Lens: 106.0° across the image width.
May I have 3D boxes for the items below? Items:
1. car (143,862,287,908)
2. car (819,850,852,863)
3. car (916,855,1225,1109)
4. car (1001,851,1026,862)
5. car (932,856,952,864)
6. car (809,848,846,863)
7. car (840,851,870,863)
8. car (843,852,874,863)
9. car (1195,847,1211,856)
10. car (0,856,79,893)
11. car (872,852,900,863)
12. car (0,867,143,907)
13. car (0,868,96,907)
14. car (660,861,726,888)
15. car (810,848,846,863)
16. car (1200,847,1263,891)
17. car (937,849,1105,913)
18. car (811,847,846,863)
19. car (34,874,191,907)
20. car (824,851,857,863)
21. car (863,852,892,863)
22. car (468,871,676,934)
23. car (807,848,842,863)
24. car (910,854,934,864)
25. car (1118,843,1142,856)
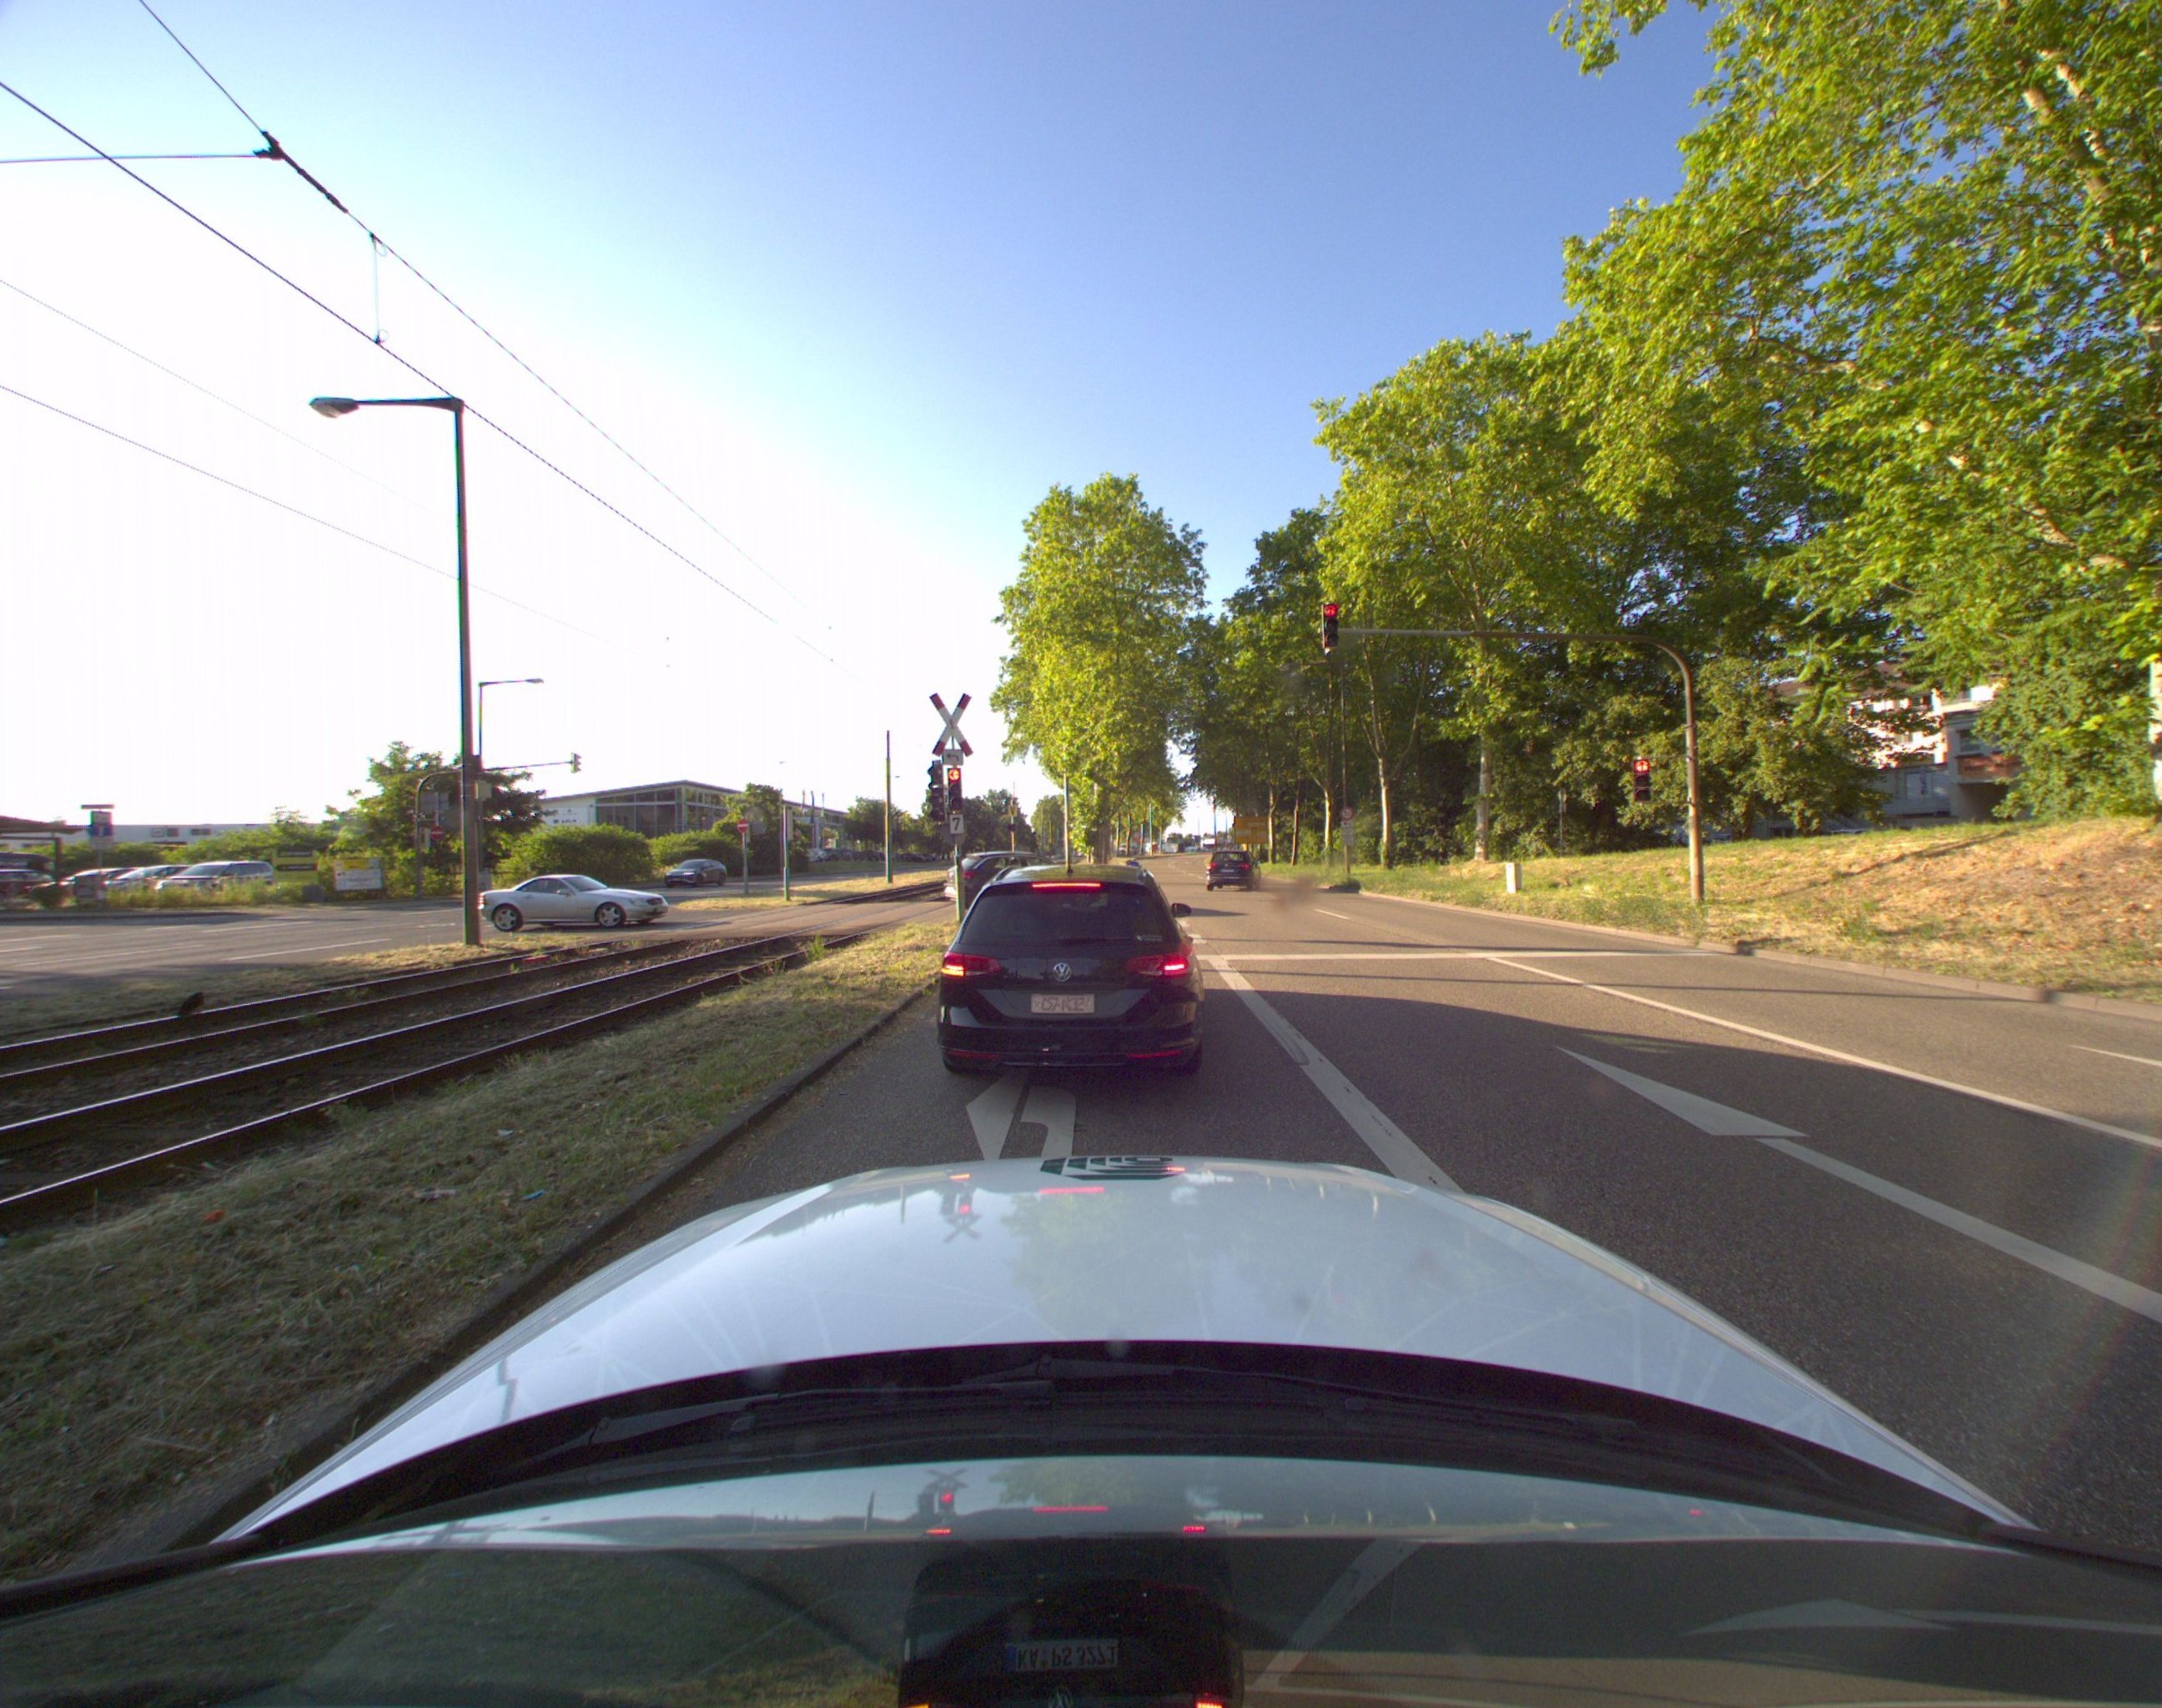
[{"bbox_3d":[-38.524,1.328,36.407,1.855,1.821,4.174,0,0,2],"label":"car"},{"bbox_3d":[-31.160,0.309,103.414,3.999,1.556,1.732,-1,0,-19],"label":"car"},{"bbox_3d":[-0.015,0.745,6.523,1.788,1.464,3.584,0,0,1],"label":"car"},{"bbox_3d":[-9.494,0.346,114.406,1.846,1.481,4.113,0,0,22],"label":"car"},{"bbox_3d":[-28.827,1.196,168.917,3.977,1.556,1.742,-1,0,-2],"label":"car"},{"bbox_3d":[-29.269,0.154,94.111,3.999,1.704,1.732,-1,0,-19],"label":"car"},{"bbox_3d":[-31.238,0.446,112.603,3.999,1.556,1.732,-1,0,-19],"label":"car"},{"bbox_3d":[-31.447,0.485,115.310,3.983,1.556,1.739,-1,0,-7],"label":"car"},{"bbox_3d":[29.375,-0.586,195.990,2.075,2.065,4.910,0,0,31],"label":"car"},{"bbox_3d":[-60.423,1.160,45.898,1.855,2.014,4.773,0,0,2],"label":"car"},{"bbox_3d":[-30.130,0.599,125.944,3.978,1.621,1.742,-1,0,-3],"label":"car"},{"bbox_3d":[-44.711,1.409,35.887,1.855,1.583,4.174,0,0,2],"label":"car"},{"bbox_3d":[-47.160,1.458,36.040,1.970,1.583,4.174,0,0,2],"label":"car"},{"bbox_3d":[-23.558,1.224,49.614,1.854,1.481,4.176,0,0,3],"label":"car"},{"bbox_3d":[-29.958,0.172,96.380,3.999,1.704,1.732,-1,0,-19],"label":"car"},{"bbox_3d":[6.172,0.585,33.090,1.857,1.635,4.391,-1,0,19],"label":"car"},{"bbox_3d":[-1.594,0.665,21.662,4.170,1.561,1.700,0,0,-23],"label":"car"},{"bbox_3d":[-30.611,0.137,98.734,3.999,1.816,1.732,-1,0,-19],"label":"car"},{"bbox_3d":[-42.471,1.568,35.884,1.855,1.267,4.174,0,0,2],"label":"car"},{"bbox_3d":[-31.374,0.354,106.205,3.999,1.556,1.732,-1,0,-19],"label":"car"},{"bbox_3d":[-30.618,0.555,122.743,3.978,1.621,1.742,-1,0,-3],"label":"car"},{"bbox_3d":[-12.254,1.142,19.784,3.959,1.294,1.613,-2,0,-2],"label":"car"},{"bbox_3d":[-31.653,0.139,100.515,3.999,1.816,1.732,-1,0,-19],"label":"car"},{"bbox_3d":[-29.271,0.922,150.005,3.978,1.621,1.742,-1,0,-3],"label":"car"},{"bbox_3d":[9.378,-0.811,155.566,2.075,2.461,5.888,0,0,29],"label":"car"}]
